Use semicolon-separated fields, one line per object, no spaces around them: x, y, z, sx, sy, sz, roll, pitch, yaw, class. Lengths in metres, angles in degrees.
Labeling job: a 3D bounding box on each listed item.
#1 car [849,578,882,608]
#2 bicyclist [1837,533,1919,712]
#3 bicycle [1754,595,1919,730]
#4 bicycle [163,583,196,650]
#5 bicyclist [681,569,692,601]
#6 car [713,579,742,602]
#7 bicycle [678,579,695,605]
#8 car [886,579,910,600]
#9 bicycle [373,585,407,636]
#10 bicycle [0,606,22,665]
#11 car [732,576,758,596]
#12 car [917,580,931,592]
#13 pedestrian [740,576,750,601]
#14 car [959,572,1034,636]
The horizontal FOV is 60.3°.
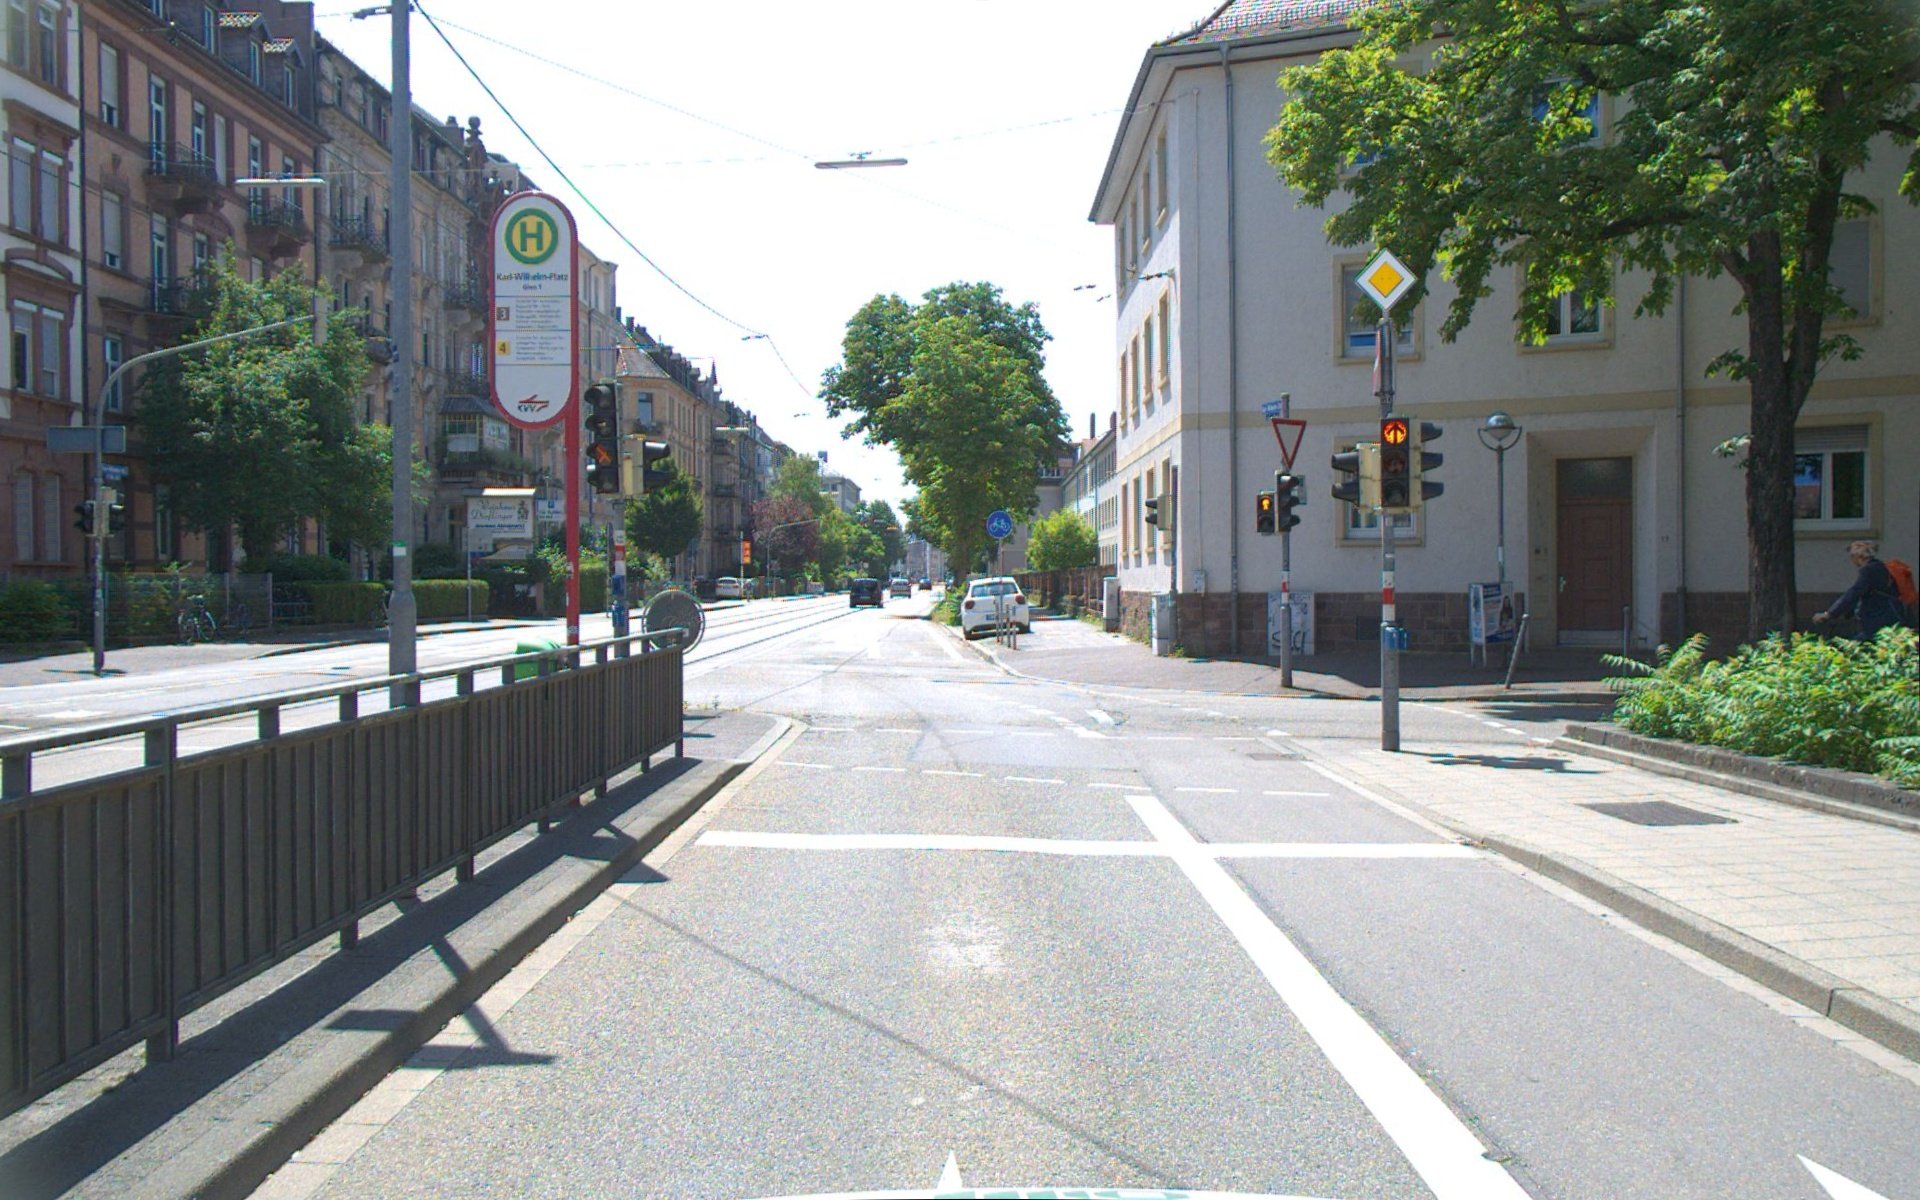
-4.807;-0.373;84.394;1.493;1.469;3.364;-2;0;0;car
8.870;0.207;15.951;0.681;1.675;0.578;0;0;33;bicyclist
8.838;0.586;15.979;2.043;1.258;0.579;0;0;33;bicycle
-16.934;0.337;35.861;0.607;1.420;2.288;0;0;-27;bicycle
-15.403;-0.818;93.117;0.531;1.794;0.498;0;0;-1;bicyclist
-16.978;-0.692;120.724;1.651;1.498;3.936;-4;0;-3;car
-15.400;-0.448;93.171;0.565;1.412;2.501;0;0;-1;bicycle
-4.850;-0.796;129.679;1.712;1.498;3.937;-4;0;-1;car
-15.831;0.273;45.918;0.584;1.380;2.419;0;0;-27;bicycle
-17.243;0.610;28.934;1.390;1.031;0.383;2;-1;-41;bicycle
-16.830;-1.078;129.510;1.596;1.498;3.562;-4;0;-3;car
-4.723;-1.880;217.646;1.596;1.498;3.562;-4;0;-3;car
-15.151;-0.783;116.649;0.664;1.758;0.677;0;0;-1;pedestrian
0.905;0.089;42.829;1.712;1.498;3.937;-4;0;-1;car
